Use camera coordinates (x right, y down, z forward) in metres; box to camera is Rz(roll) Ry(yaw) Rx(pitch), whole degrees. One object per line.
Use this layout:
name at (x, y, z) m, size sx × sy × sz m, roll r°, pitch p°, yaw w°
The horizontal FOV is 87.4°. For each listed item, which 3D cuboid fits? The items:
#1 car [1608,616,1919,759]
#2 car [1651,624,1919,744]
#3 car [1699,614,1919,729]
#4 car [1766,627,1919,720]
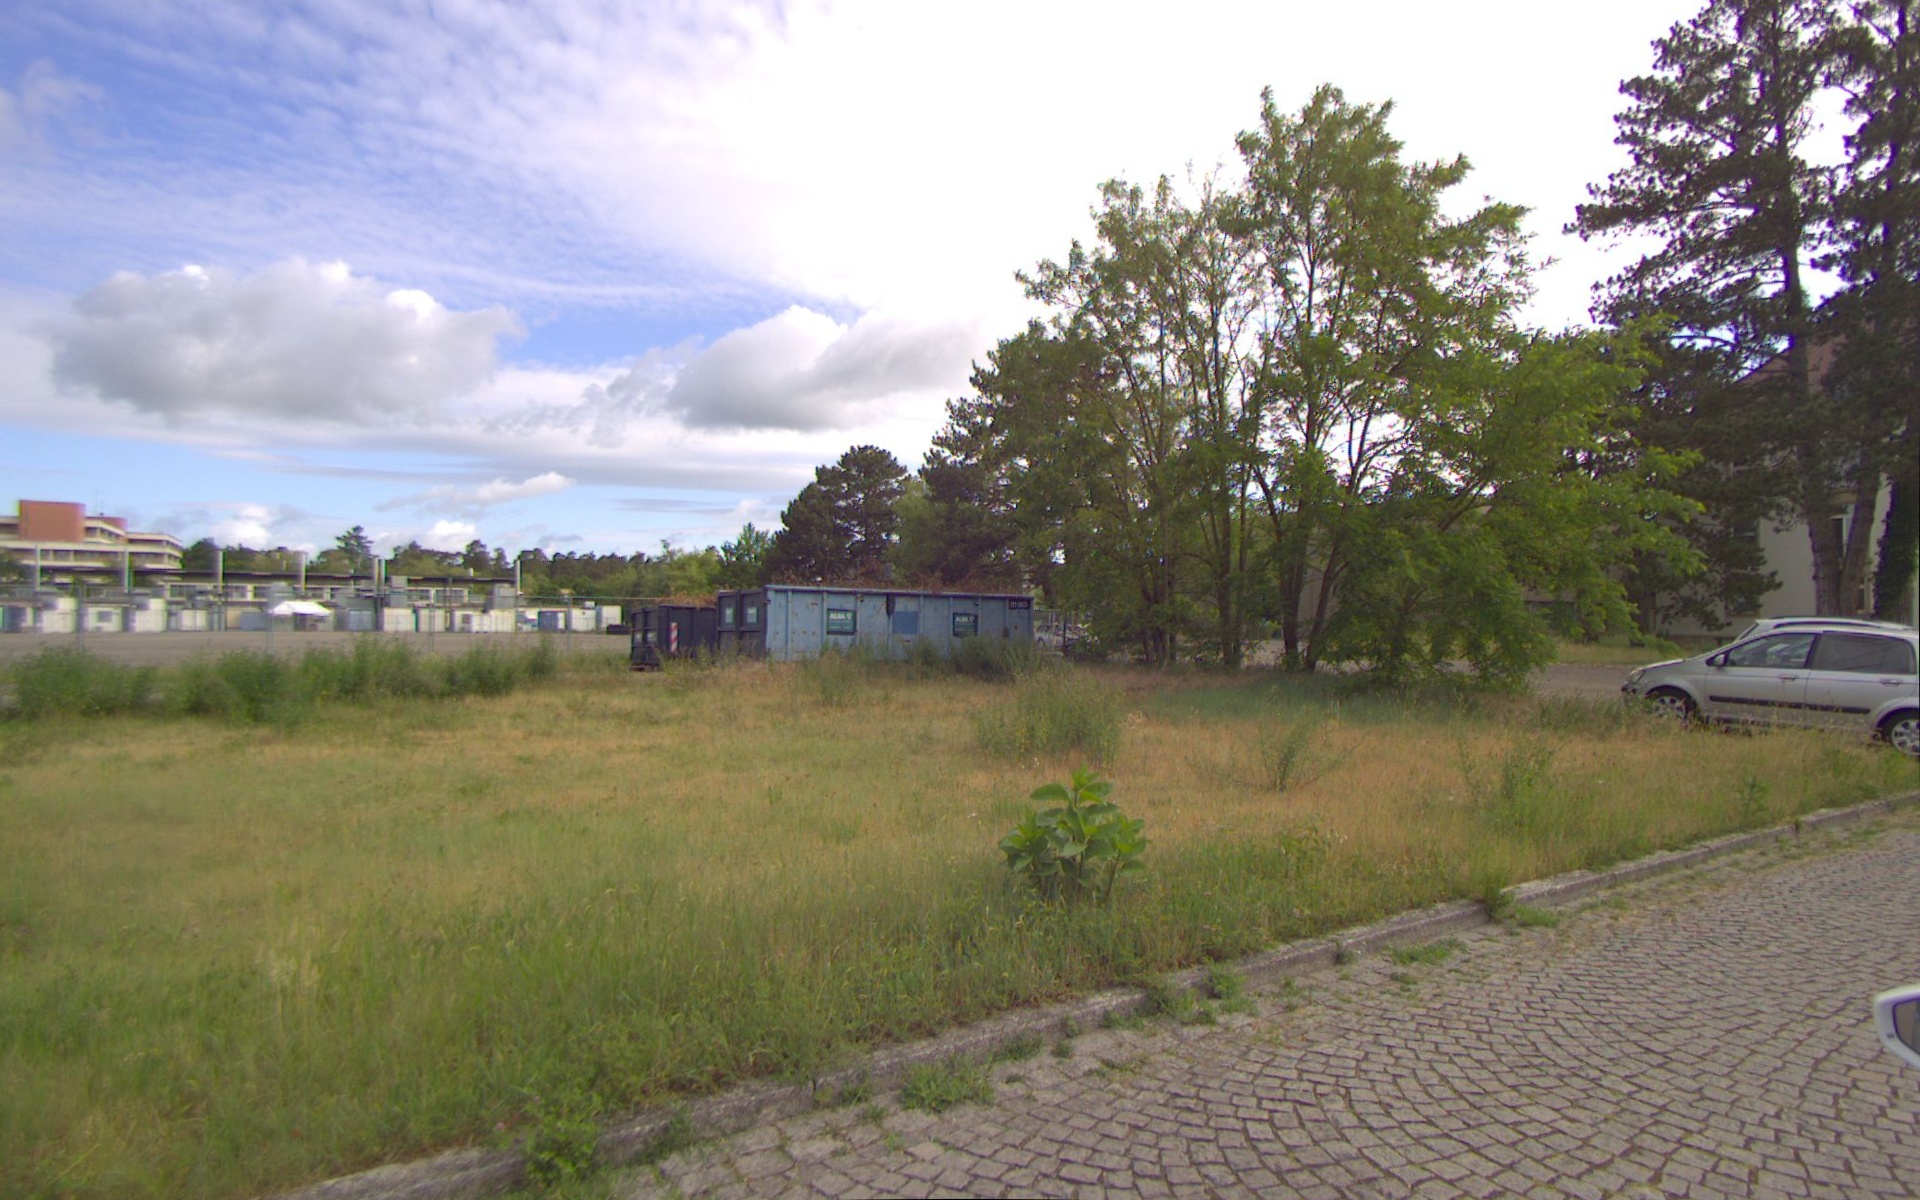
car at (10.744, 1.026, 12.905) m, size 1.656 × 1.500 × 3.696 m, roll 1°, pitch 1°, yaw -35°
car at (12.775, 1.147, 14.502) m, size 1.796 × 1.574 × 4.266 m, roll 1°, pitch -2°, yaw -38°
car at (14.875, 1.131, 16.384) m, size 1.637 × 1.755 × 4.267 m, roll 1°, pitch -2°, yaw -37°
car at (17.008, 1.262, 17.546) m, size 1.796 × 1.574 × 4.266 m, roll 1°, pitch -2°, yaw -38°
